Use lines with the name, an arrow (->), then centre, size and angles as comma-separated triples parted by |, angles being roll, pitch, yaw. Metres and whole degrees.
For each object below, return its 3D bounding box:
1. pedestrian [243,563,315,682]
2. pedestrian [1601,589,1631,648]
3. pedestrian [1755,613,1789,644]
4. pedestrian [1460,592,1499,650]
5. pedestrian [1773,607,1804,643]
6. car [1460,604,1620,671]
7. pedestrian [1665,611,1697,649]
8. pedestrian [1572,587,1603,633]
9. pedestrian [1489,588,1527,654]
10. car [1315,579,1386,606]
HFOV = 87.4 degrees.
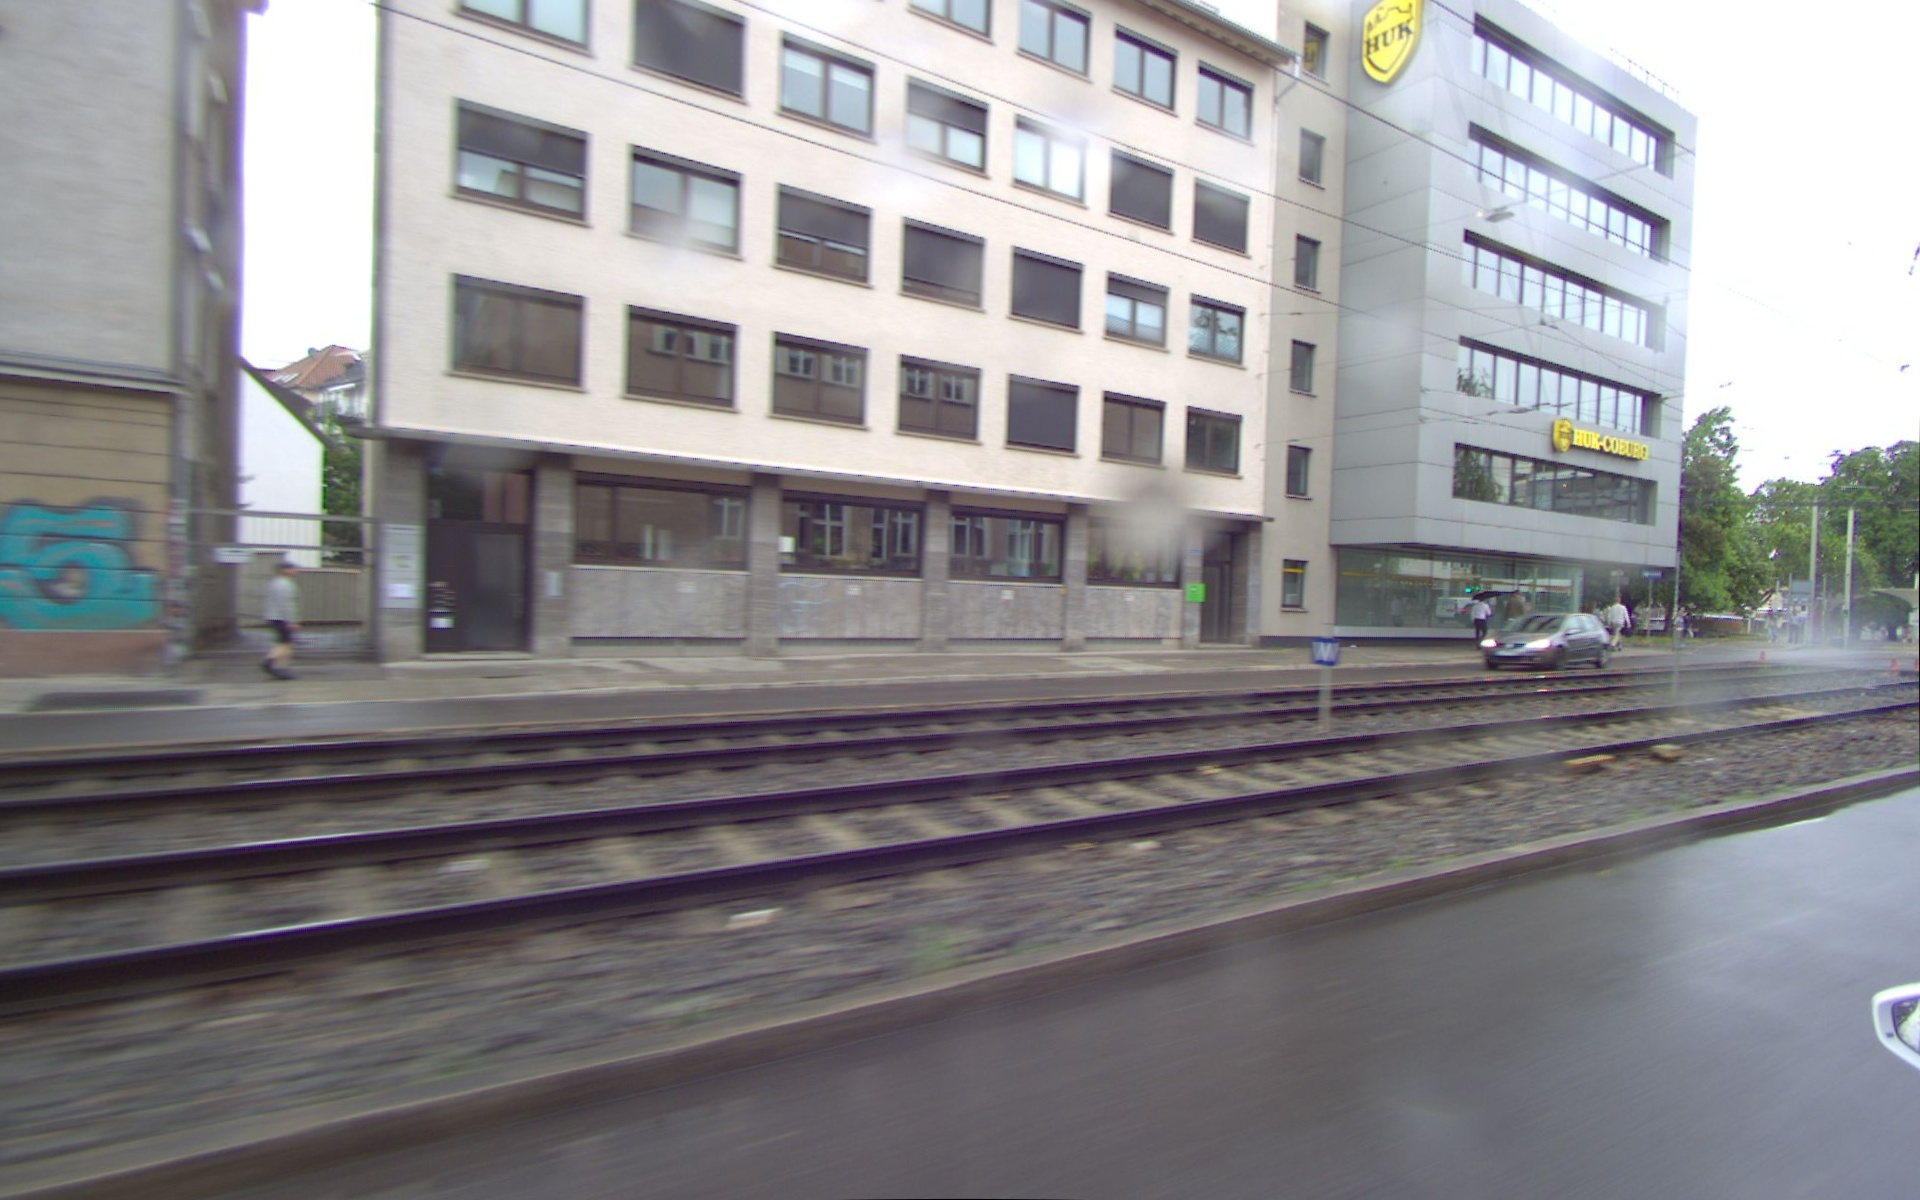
pedestrian -> -9.768, 0.316, 14.427 | 0.789, 1.634, 0.544 | 1, 3, -30
pedestrian -> 23.129, 0.632, 35.410 | 0.650, 2.041, 0.617 | 3, 2, 20
pedestrian -> 43.839, 1.540, 54.253 | 0.984, 1.615, 0.913 | 3, 2, -1
pedestrian -> 16.880, 0.677, 32.641 | 0.963, 1.840, 0.657 | 1, 2, -32
pedestrian -> 46.390, 1.384, 56.239 | 0.895, 1.888, 1.004 | 3, 2, 14
car -> 14.757, 0.950, 25.494 | 4.307, 1.556, 1.926 | 1, -3, -36
pedestrian -> 31.526, 1.298, 43.906 | 0.948, 1.615, 0.588 | 3, 2, 24
pedestrian -> 22.596, 0.364, 36.163 | 0.625, 1.615, 0.587 | 2, 2, -15
pedestrian -> 17.370, 0.649, 31.844 | 0.802, 2.041, 0.657 | 1, 2, -32
car -> 21.963, -0.424, 56.578 | 3.479, 1.467, 1.699 | 0, -1, 32
